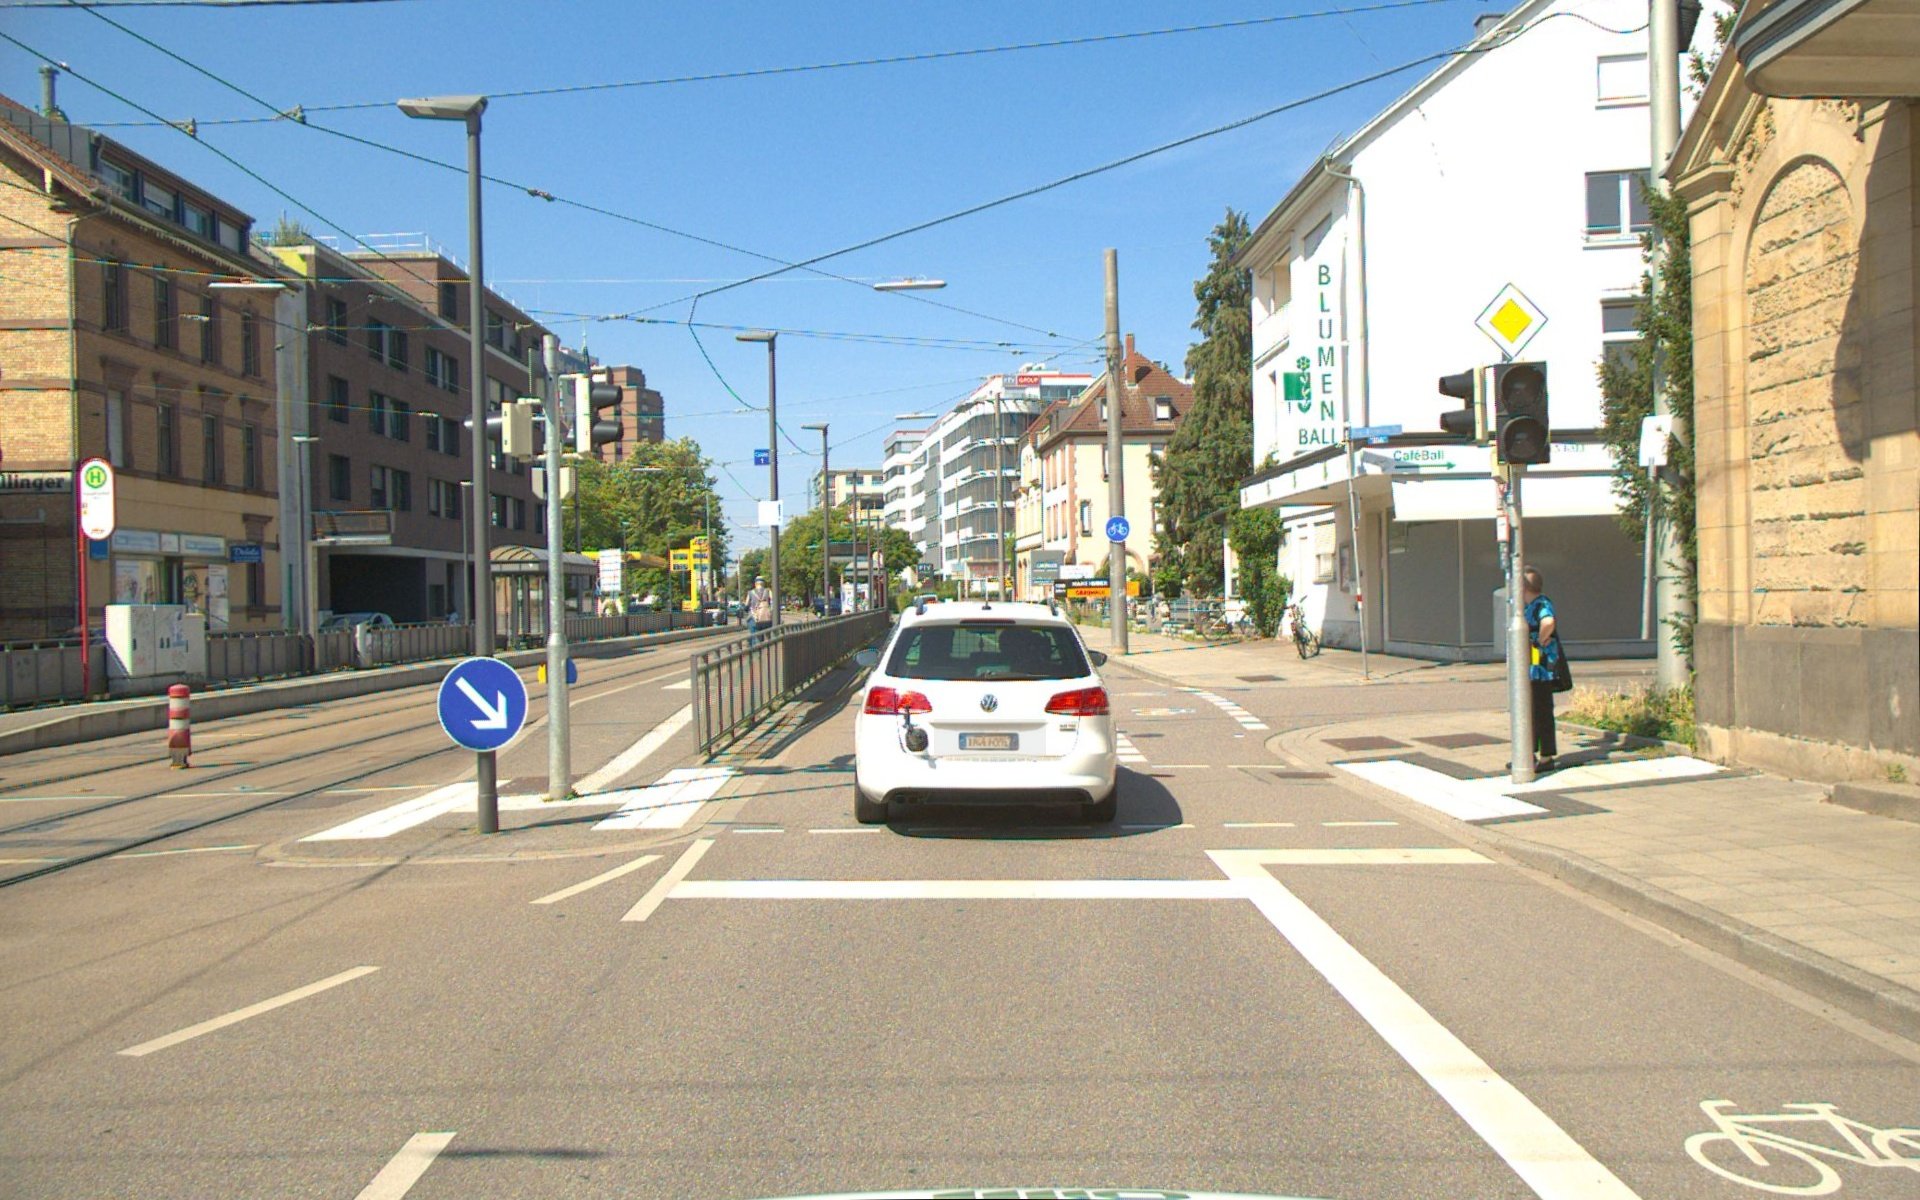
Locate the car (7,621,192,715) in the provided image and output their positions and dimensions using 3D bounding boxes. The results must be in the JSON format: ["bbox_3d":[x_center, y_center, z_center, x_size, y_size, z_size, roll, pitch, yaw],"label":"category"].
[{"bbox_3d":[-15.464,1.174,29.920,1.542,1.484,3.811,-2,0,-4],"label":"car"}]

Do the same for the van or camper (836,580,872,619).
[{"bbox_3d":[-9.321,-0.073,144.857,2.886,3.235,6.606,-2,0,-5],"label":"van or camper"}]

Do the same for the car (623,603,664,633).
[{"bbox_3d":[-16.592,0.921,86.895,1.541,1.484,3.736,-2,0,-2],"label":"car"}]

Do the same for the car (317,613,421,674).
[{"bbox_3d":[-15.951,1.135,44.821,1.541,1.484,3.736,-2,0,-2],"label":"car"}]

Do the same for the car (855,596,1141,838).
[{"bbox_3d":[0.210,0.701,11.893,1.717,1.442,3.852,1,0,-1],"label":"car"}]

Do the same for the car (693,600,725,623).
[{"bbox_3d":[-17.167,0.793,113.167,1.634,1.492,3.772,-2,0,-1],"label":"car"}]

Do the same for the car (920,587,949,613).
[{"bbox_3d":[-2.092,0.009,134.376,1.955,2.049,3.995,-2,0,-5],"label":"car"}]

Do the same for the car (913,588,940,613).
[{"bbox_3d":[-2.854,0.026,139.780,1.955,2.049,3.995,-2,0,-5],"label":"car"}]

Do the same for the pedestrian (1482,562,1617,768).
[{"bbox_3d":[4.580,0.490,12.905,0.762,1.536,0.859,-2,0,6],"label":"pedestrian"}]

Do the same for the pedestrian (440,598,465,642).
[{"bbox_3d":[-21.736,0.854,70.821,0.710,1.822,0.964,-2,0,-1],"label":"pedestrian"}]

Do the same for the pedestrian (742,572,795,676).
[{"bbox_3d":[-3.473,0.435,30.087,0.810,1.841,0.833,-2,0,-1],"label":"pedestrian"}]

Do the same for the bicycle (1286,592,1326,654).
[{"bbox_3d":[6.811,0.431,32.592,0.710,1.159,2.197,-2,0,11],"label":"bicycle"}]

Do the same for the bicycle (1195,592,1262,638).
[{"bbox_3d":[7.118,0.396,43.873,1.677,1.150,0.525,-2,0,0],"label":"bicycle"}]
